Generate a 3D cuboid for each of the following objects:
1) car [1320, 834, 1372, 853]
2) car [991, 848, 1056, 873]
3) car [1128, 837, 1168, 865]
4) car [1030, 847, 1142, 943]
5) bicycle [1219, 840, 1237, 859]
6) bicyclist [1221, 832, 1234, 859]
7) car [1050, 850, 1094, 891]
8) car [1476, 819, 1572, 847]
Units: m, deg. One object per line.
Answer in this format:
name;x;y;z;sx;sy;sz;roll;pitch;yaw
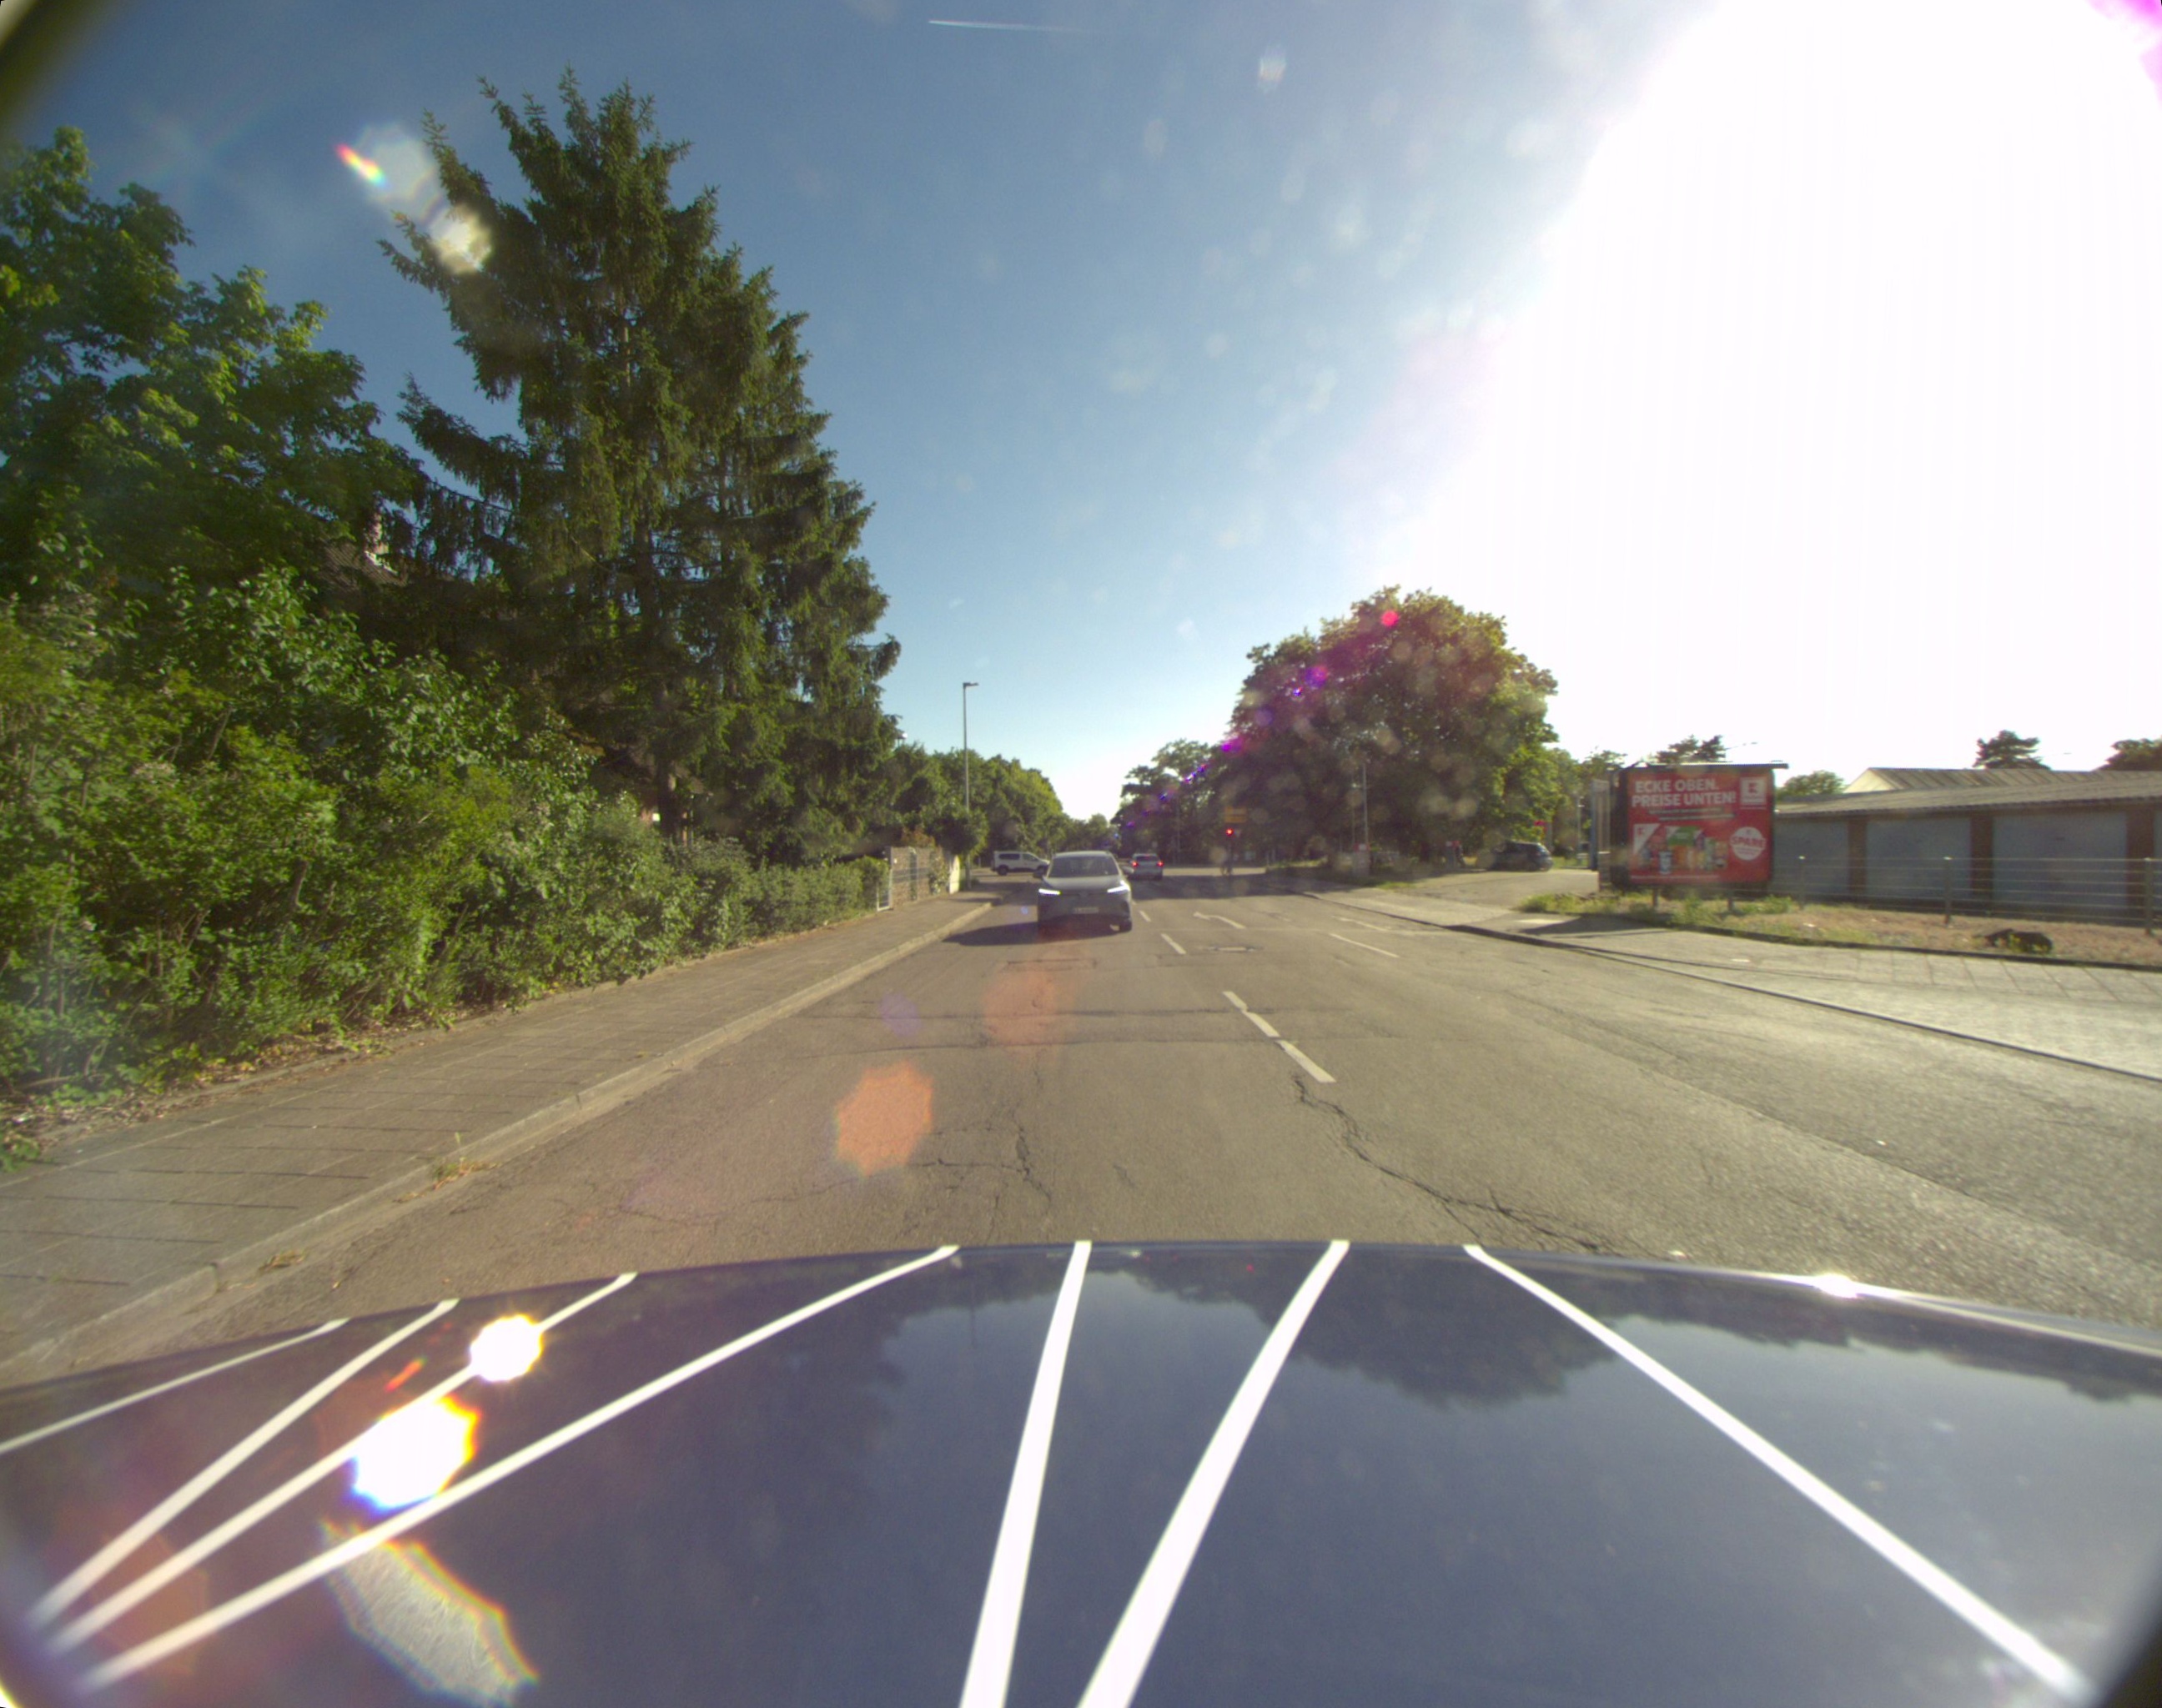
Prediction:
car;22.746;-0.922;65.243;3.912;1.432;1.690;-3;3;-12
car;-4.517;0.476;59.180;4.867;1.830;1.862;-1;1;-11
car;3.787;-0.171;43.511;1.841;1.480;4.889;-1;1;0
car;0.180;0.747;16.212;1.992;1.631;4.364;-3;1;2
bicycle;9.222;-0.292;47.768;0.529;1.135;2.025;-2;1;-5
bicyclist;9.214;-0.544;47.930;0.542;1.632;0.829;-2;1;-5
car;-0.395;0.669;32.758;1.692;1.564;4.120;-3;1;-1
car;23.253;-1.122;40.023;1.763;1.369;3.988;-3;4;-35
